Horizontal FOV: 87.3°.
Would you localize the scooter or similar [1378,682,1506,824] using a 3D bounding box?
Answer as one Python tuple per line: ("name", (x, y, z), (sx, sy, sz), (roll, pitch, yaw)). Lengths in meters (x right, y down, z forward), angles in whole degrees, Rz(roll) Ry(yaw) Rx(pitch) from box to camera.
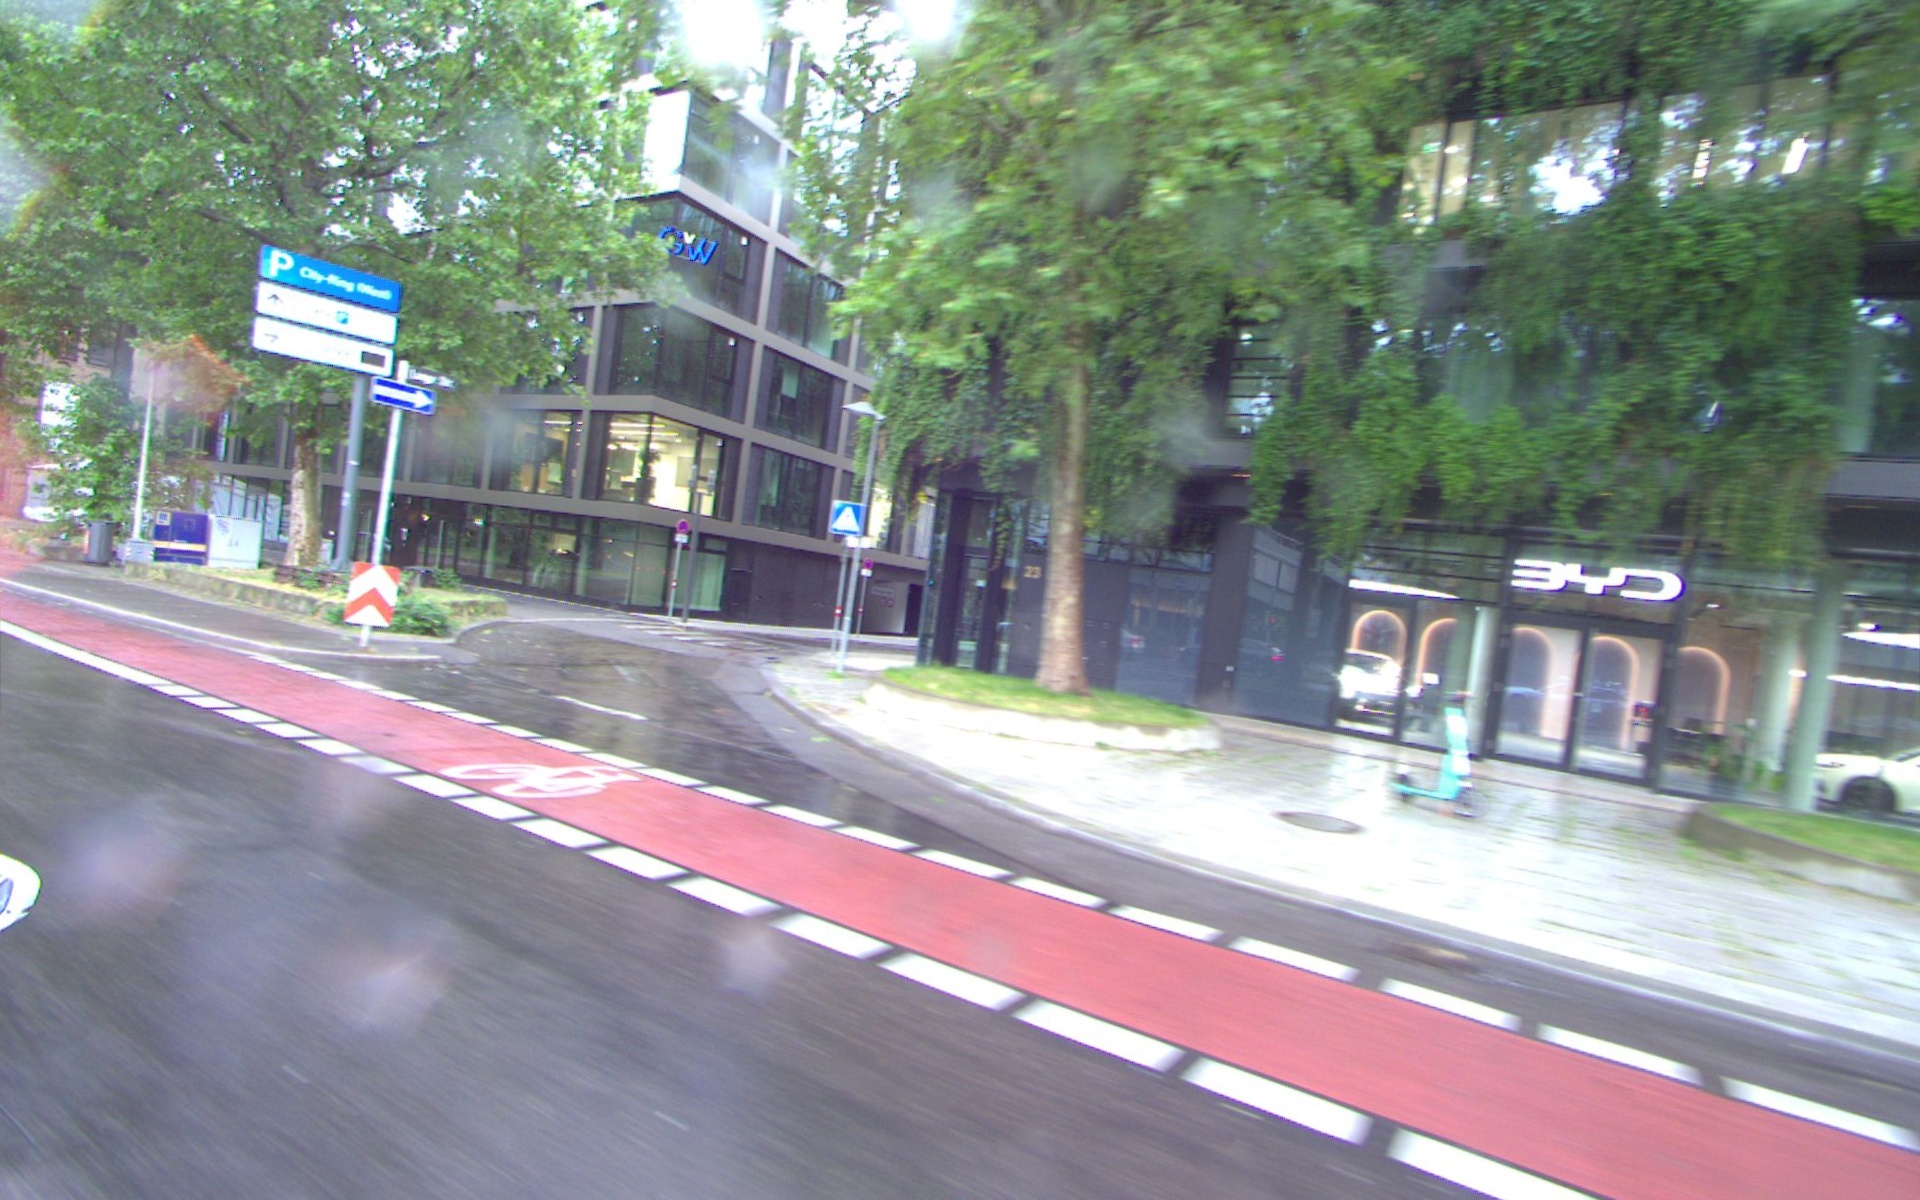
("scooter or similar", (4.885, 1.526, 10.249), (0.377, 1.243, 1.074), (7, 0, -21))
